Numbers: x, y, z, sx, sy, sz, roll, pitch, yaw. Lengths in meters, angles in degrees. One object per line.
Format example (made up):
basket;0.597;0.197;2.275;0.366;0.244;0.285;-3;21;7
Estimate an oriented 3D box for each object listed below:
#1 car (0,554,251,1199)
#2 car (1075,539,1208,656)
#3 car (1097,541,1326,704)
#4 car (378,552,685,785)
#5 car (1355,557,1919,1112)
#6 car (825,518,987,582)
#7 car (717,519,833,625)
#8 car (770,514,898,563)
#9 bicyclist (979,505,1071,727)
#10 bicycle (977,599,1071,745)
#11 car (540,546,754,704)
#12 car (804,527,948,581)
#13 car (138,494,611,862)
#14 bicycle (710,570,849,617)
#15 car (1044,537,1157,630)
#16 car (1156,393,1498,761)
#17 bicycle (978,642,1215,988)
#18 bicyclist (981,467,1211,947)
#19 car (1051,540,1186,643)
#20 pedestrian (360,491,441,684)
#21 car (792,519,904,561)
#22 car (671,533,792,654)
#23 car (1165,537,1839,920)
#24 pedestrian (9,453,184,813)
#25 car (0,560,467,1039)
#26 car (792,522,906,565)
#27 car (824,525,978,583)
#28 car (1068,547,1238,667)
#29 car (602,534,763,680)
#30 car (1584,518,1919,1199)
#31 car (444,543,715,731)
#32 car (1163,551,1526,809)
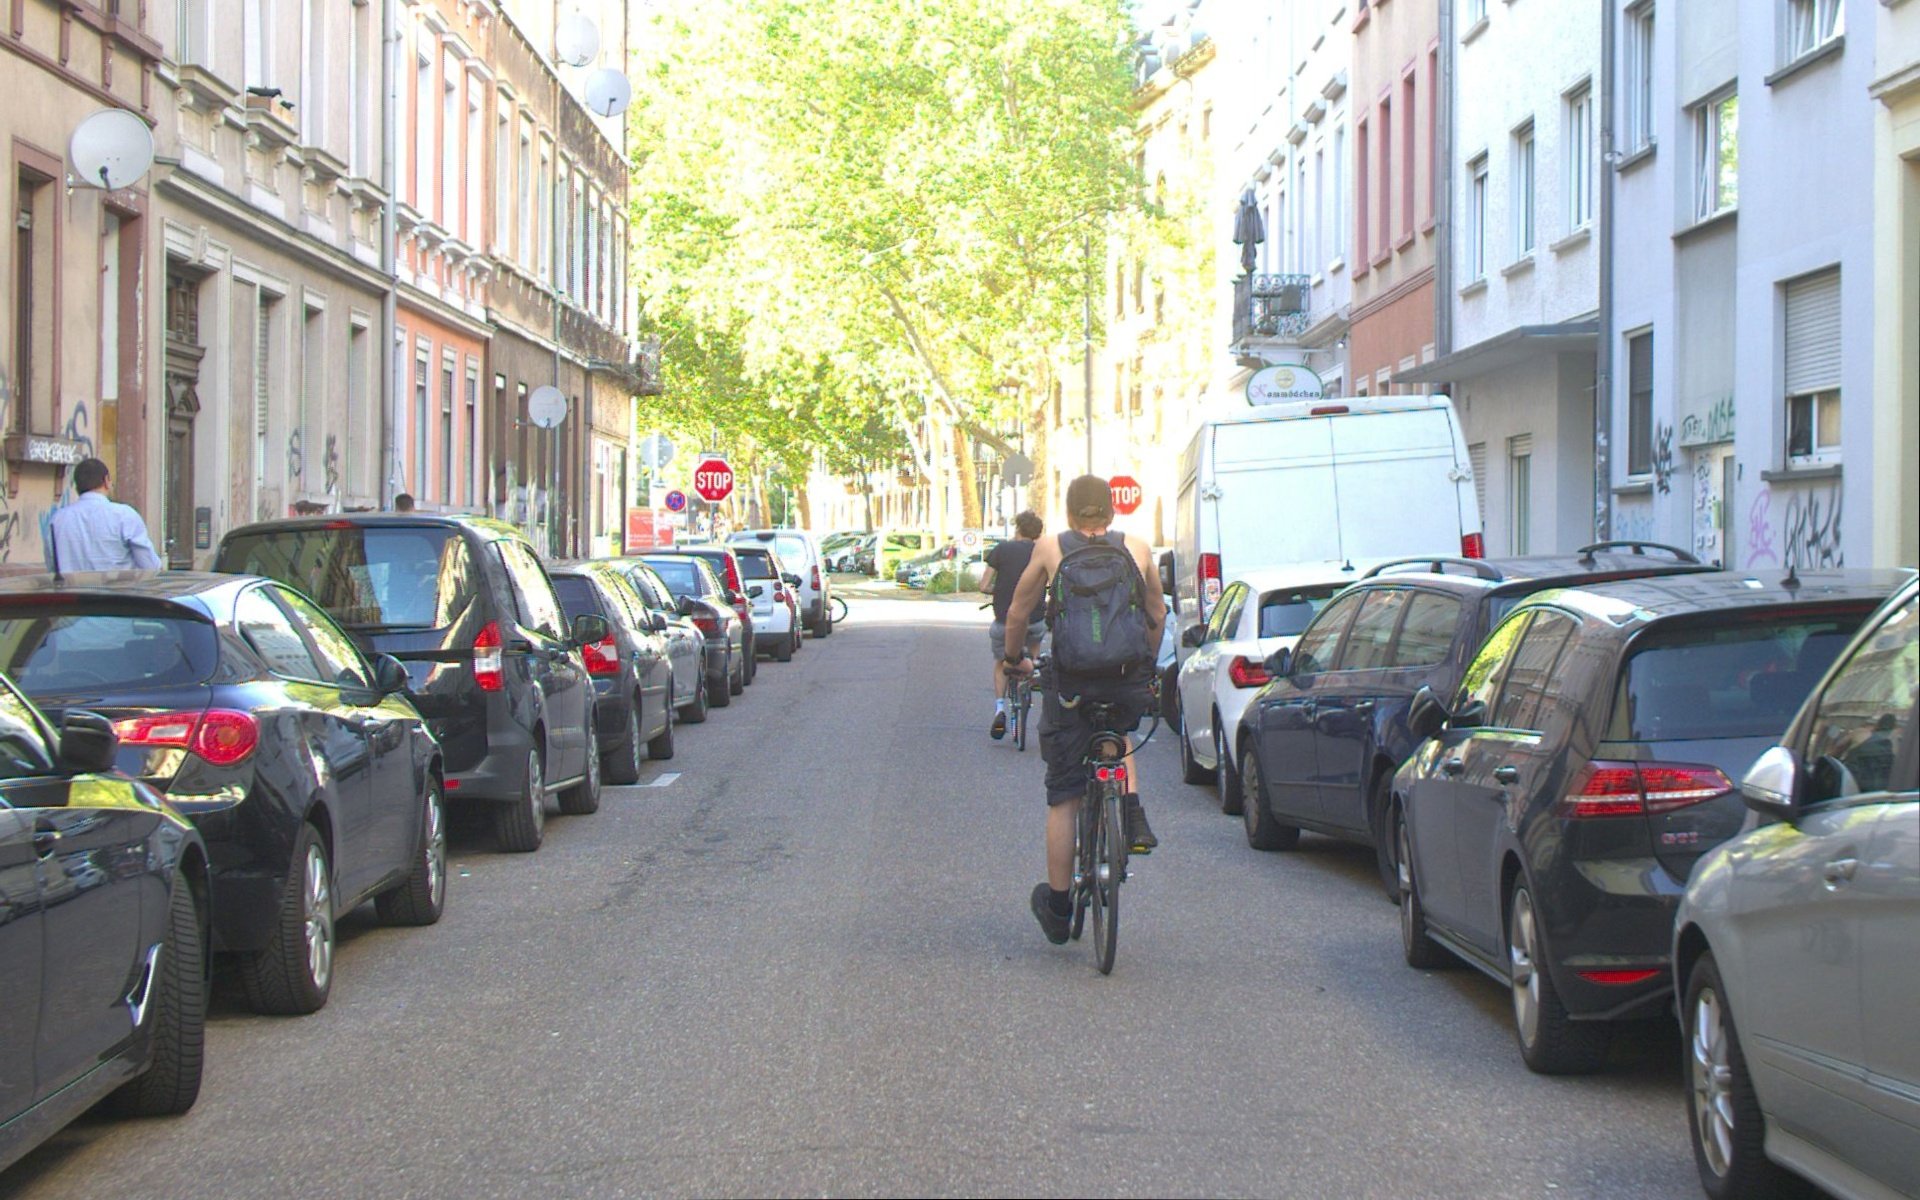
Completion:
car;-2.860;0.658;7.411;1.862;1.435;4.646;0;2;-2
car;2.401;-0.065;46.133;1.592;1.487;3.876;0;1;0
car;2.370;0.165;33.337;1.731;1.465;4.022;0;1;-3
car;-2.837;0.403;23.410;1.592;1.435;3.654;0;1;1
car;2.462;0.617;11.531;1.746;1.480;4.243;0;1;0
car;-1.544;-1.420;97.335;4.468;1.753;1.867;0;1;-4
car;-3.089;-0.495;57.977;1.787;1.731;3.876;0;1;-1
car;-4.503;-2.188;122.117;4.468;1.690;1.867;0;1;-4
bicyclist;0.486;0.110;26.071;0.669;1.653;0.877;0;1;0
bicycle;0.473;0.528;26.187;0.664;1.034;1.959;0;1;0
car;-2.976;0.196;33.445;1.706;1.409;4.302;0;1;0
car;-2.669;-1.457;108.795;4.468;1.690;1.867;0;1;-4
car;-3.000;0.337;18.430;1.801;1.692;4.000;-2;1;0
bicycle;-3.535;-0.134;67.388;2.715;0.889;0.619;0;1;-2
car;2.373;-0.302;58.697;1.652;1.525;3.575;0;1;-2
car;2.711;-0.220;26.798;2.204;2.542;6.036;0;1;2
bicycle;0.472;0.747;12.749;0.740;1.097;2.042;2;1;-1
bicyclist;0.482;0.368;12.685;0.740;1.673;1.117;2;1;-1
car;2.336;-0.154;51.591;1.710;1.465;4.001;0;1;-2
pedestrian;-5.471;-0.127;33.662;0.610;1.851;0.754;2;1;-1
car;-4.576;-2.430;139.746;4.468;1.690;1.867;0;1;-4
car;-3.030;-0.119;45.778;1.544;1.545;3.466;0;1;-3
car;2.441;0.495;16.780;1.811;1.473;4.610;-3;2;-10
pedestrian;-4.486;0.161;17.895;0.651;1.811;0.754;2;1;0
car;-2.942;0.586;12.473;1.736;1.422;4.000;0;1;0
car;-4.455;-2.255;137.739;4.468;1.690;1.867;0;1;-4
car;-1.756;-1.364;102.167;4.468;1.690;1.867;0;1;-4
car;2.256;0.048;41.043;1.657;1.334;4.001;0;1;-2
car;-3.062;0.044;38.404;1.604;1.525;3.379;-1;1;-2
car;2.513;0.630;6.779;1.693;1.602;4.375;-2;1;-1
car;-3.064;0.252;28.386;1.674;1.425;3.888;0;1;2
car;2.292;0.424;21.366;1.725;1.424;3.833;0;1;-2
